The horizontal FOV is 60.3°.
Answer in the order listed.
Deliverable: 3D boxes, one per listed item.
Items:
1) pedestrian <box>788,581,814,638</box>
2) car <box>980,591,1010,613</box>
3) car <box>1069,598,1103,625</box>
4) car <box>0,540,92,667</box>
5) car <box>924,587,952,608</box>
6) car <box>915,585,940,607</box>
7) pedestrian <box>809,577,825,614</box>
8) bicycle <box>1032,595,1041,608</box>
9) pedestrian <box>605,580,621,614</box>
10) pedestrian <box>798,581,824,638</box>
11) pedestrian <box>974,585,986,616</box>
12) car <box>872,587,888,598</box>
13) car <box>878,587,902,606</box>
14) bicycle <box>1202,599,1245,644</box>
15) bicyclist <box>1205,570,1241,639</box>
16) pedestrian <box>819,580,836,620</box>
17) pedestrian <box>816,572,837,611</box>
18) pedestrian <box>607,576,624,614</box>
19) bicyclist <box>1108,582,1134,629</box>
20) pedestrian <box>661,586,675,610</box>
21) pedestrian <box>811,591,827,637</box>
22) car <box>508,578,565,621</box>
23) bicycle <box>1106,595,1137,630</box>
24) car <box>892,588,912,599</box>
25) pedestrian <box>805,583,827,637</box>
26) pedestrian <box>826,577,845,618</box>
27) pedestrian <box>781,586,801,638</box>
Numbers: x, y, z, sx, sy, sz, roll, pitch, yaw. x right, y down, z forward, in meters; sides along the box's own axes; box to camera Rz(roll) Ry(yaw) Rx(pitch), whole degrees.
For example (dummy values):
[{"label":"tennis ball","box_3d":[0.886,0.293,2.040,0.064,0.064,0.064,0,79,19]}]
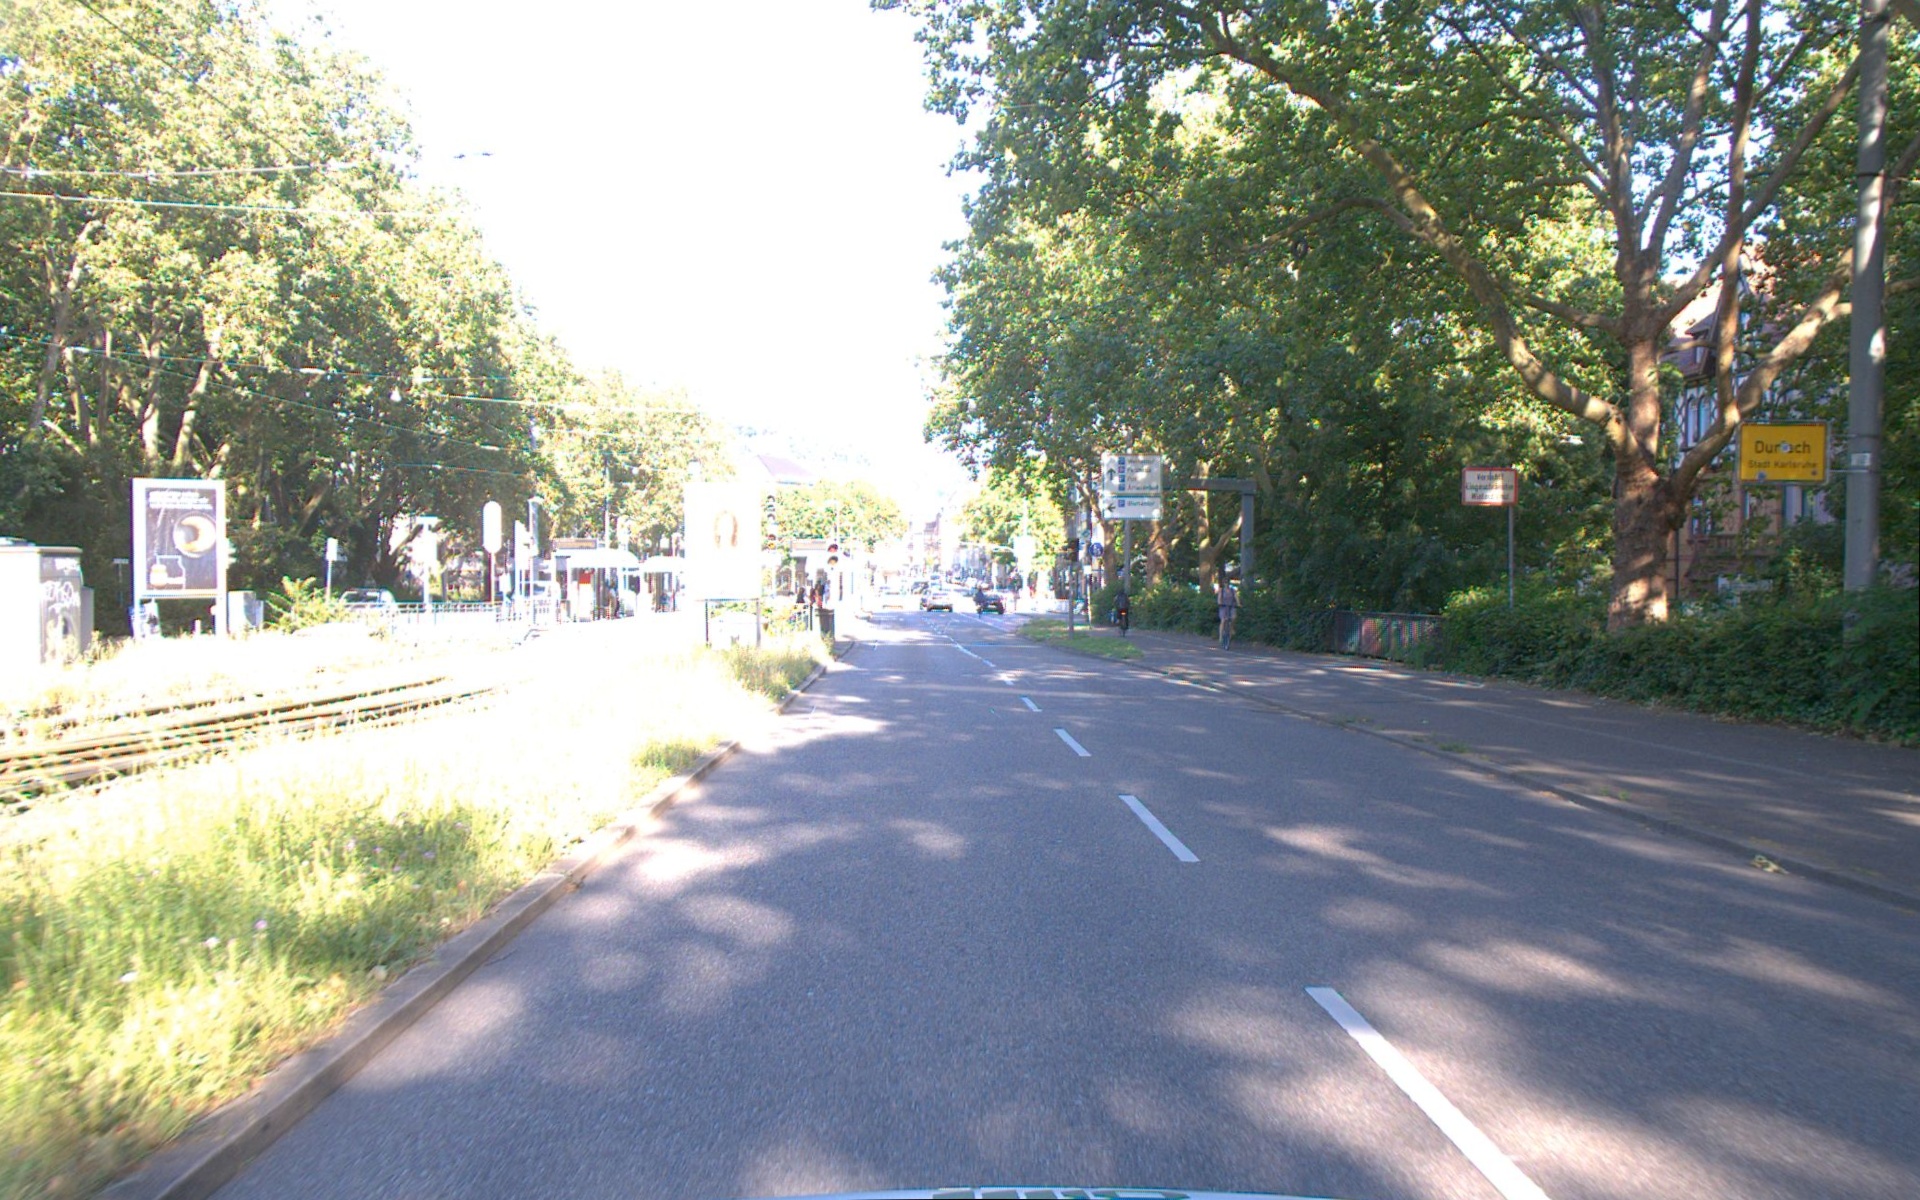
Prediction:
[{"label":"pedestrian","box_3d":[-4.512,0.258,46.922,0.510,1.595,0.507,-2,0,27]},{"label":"car","box_3d":[2.462,0.108,116.978,1.764,1.464,4.043,2,0,-3]},{"label":"car","box_3d":[9.132,0.846,120.376,1.759,1.931,4.355,1,0,-5]},{"label":"car","box_3d":[-20.584,0.102,34.460,2.140,2.565,6.027,-2,0,-4]},{"label":"car","box_3d":[-1.611,-0.192,121.763,1.891,1.498,4.852,1,1,-3]},{"label":"car","box_3d":[-2.552,-0.351,129.134,1.764,1.666,4.042,1,1,-3]},{"label":"pedestrian","box_3d":[-6.139,-0.188,71.027,0.576,1.594,0.650,2,0,-2]},{"label":"bicycle","box_3d":[6.149,0.125,132.621,0.488,1.093,1.799,1,0,-3]},{"label":"pedestrian","box_3d":[-16.115,-0.119,76.886,0.581,1.571,0.626,1,-1,-2]},{"label":"pedestrian","box_3d":[-4.255,0.266,47.342,0.510,1.595,0.507,-2,0,27]},{"label":"pedestrian","box_3d":[1.215,0.029,100.087,0.644,1.903,0.677,0,0,-3]},{"label":"car","box_3d":[-10.816,-0.995,223.354,1.756,1.537,4.002,0,0,4]},{"label":"car","box_3d":[-5.526,-0.306,130.699,1.772,1.478,3.997,1,0,-3]},{"label":"bicycle","box_3d":[6.751,0.536,42.444,0.685,1.127,1.928,0,0,-4]},{"label":"bicyclist","box_3d":[6.749,0.102,42.515,0.685,1.758,1.079,0,0,-4]},{"label":"pedestrian","box_3d":[-6.281,0.011,78.279,0.637,1.873,0.711,1,0,7]},{"label":"pedestrian","box_3d":[-6.158,-0.399,76.179,0.647,1.752,0.701,2,0,-38]},{"label":"pedestrian","box_3d":[-16.173,-0.232,77.632,0.635,1.803,0.650,1,-1,0]},{"label":"bicyclist","box_3d":[5.313,0.170,54.626,0.751,1.539,0.650,0,0,-3]},{"label":"pedestrian","box_3d":[-16.496,-0.117,93.553,0.656,1.347,0.756,-2,0,-5]},{"label":"pedestrian","box_3d":[-4.126,0.415,48.493,0.407,1.343,0.359,-2,0,-3]},{"label":"car","box_3d":[-22.209,-0.026,86.915,2.026,2.161,5.085,-2,0,-4]},{"label":"bicycle","box_3d":[5.321,0.414,54.619,0.751,1.127,1.799,0,0,-3]},{"label":"car","box_3d":[-8.091,-0.947,231.561,1.756,1.537,4.003,0,0,16]},{"label":"pedestrian","box_3d":[-4.176,0.299,48.023,0.578,1.546,0.514,-2,0,-2]},{"label":"pedestrian","box_3d":[-5.365,-0.112,71.173,0.727,1.724,0.791,2,0,-2]},{"label":"pedestrian","box_3d":[-4.948,0.337,48.499,0.509,1.498,0.514,-2,0,-2]}]
